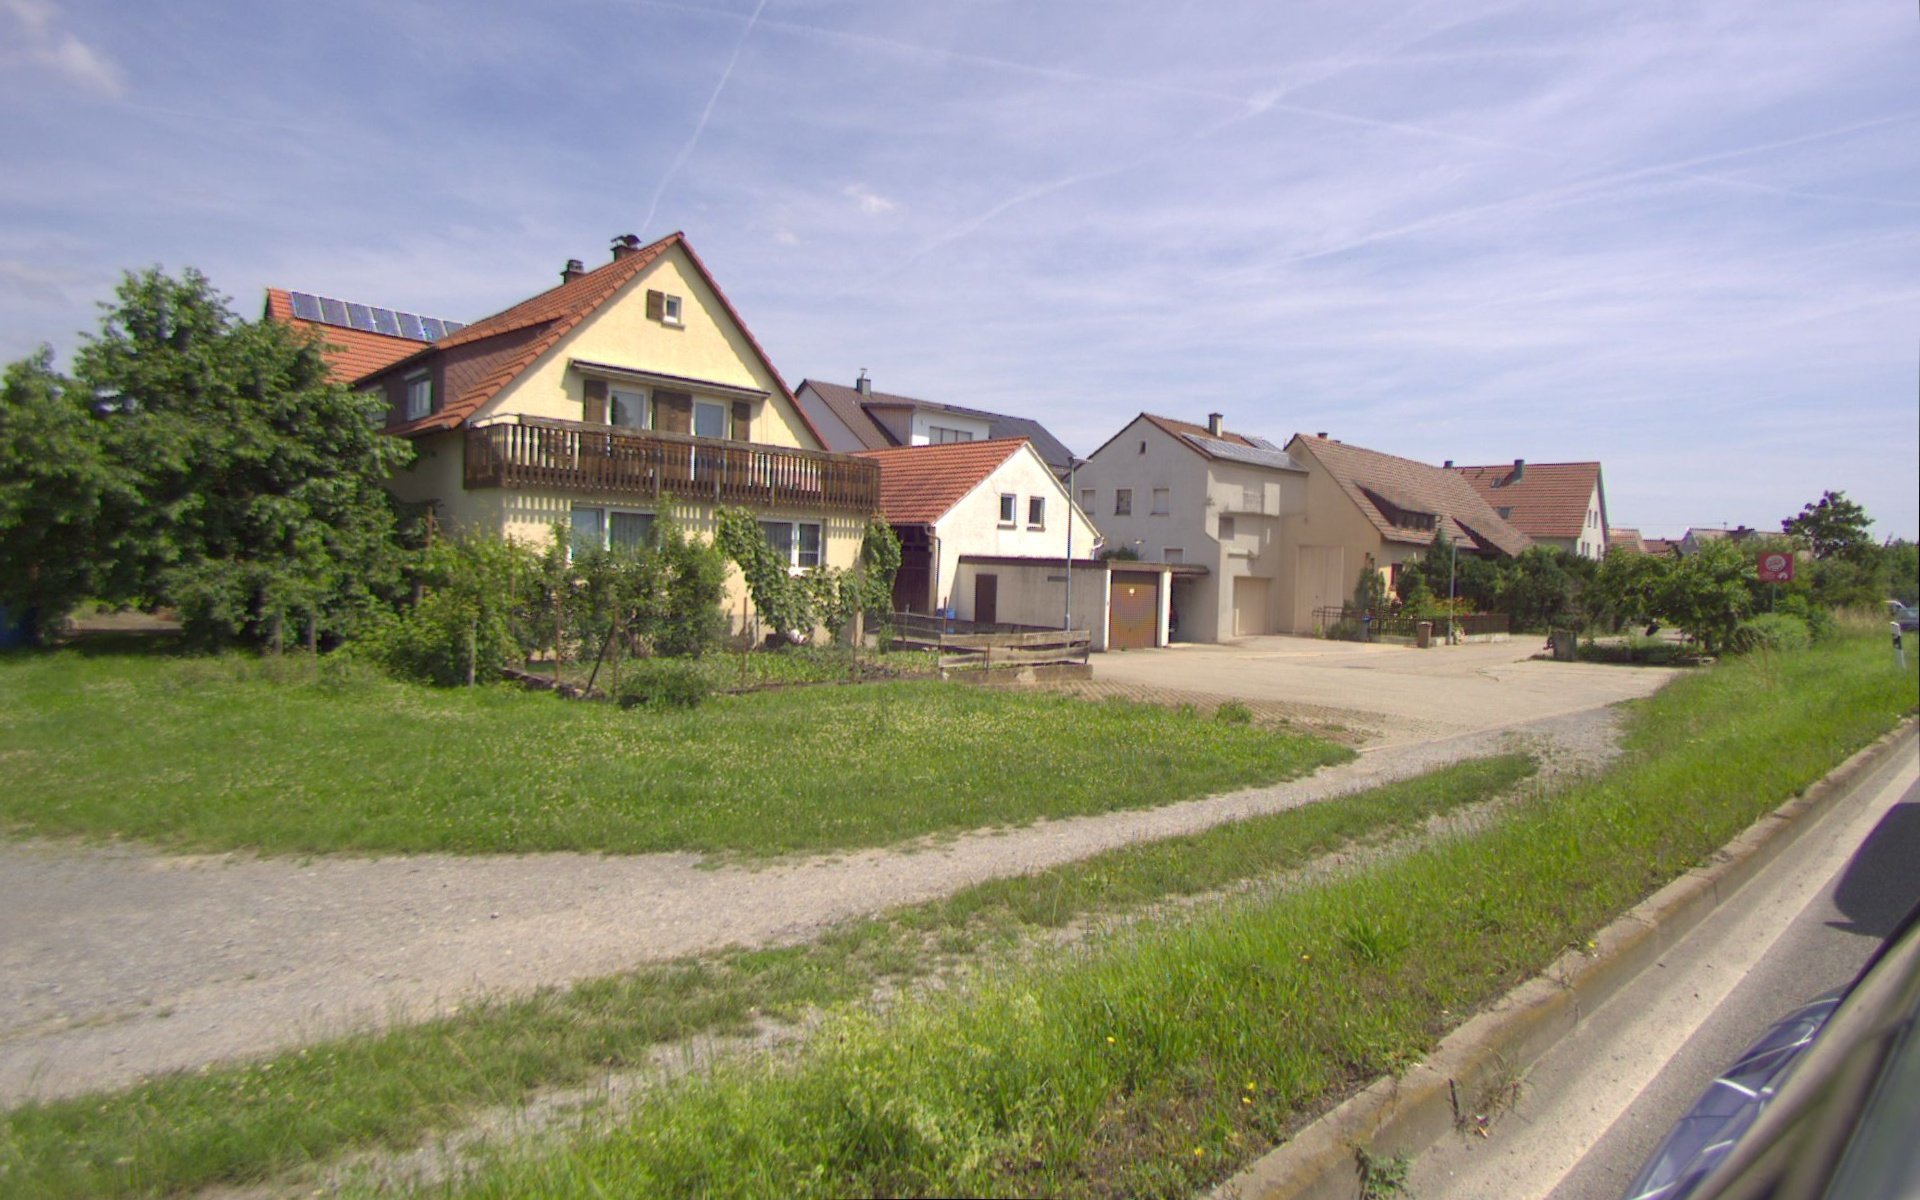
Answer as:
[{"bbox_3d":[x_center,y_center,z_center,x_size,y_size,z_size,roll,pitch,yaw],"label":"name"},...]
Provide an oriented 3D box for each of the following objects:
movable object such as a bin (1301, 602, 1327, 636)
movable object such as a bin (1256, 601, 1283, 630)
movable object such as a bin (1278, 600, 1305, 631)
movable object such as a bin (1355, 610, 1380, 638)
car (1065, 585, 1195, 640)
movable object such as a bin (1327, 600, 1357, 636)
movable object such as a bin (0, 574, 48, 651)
[{"bbox_3d":[14.203,0.761,40.622,0.806,1.355,0.677,1,0,-43],"label":"movable object such as a bin"},{"bbox_3d":[12.787,0.617,41.828,0.816,1.171,0.739,1,0,-43],"label":"movable object such as a bin"},{"bbox_3d":[13.503,0.628,41.221,0.874,1.262,0.744,1,0,-43],"label":"movable object such as a bin"},{"bbox_3d":[15.587,0.924,38.717,0.743,1.040,0.645,1,0,-43],"label":"movable object such as a bin"},{"bbox_3d":[5.538,0.359,33.316,1.794,1.623,3.994,1,1,-41],"label":"car"},{"bbox_3d":[14.866,0.695,39.413,0.930,1.387,0.764,1,0,-43],"label":"movable object such as a bin"},{"bbox_3d":[-17.884,0.219,19.013,1.045,1.415,1.276,1,0,-40],"label":"movable object such as a bin"}]
